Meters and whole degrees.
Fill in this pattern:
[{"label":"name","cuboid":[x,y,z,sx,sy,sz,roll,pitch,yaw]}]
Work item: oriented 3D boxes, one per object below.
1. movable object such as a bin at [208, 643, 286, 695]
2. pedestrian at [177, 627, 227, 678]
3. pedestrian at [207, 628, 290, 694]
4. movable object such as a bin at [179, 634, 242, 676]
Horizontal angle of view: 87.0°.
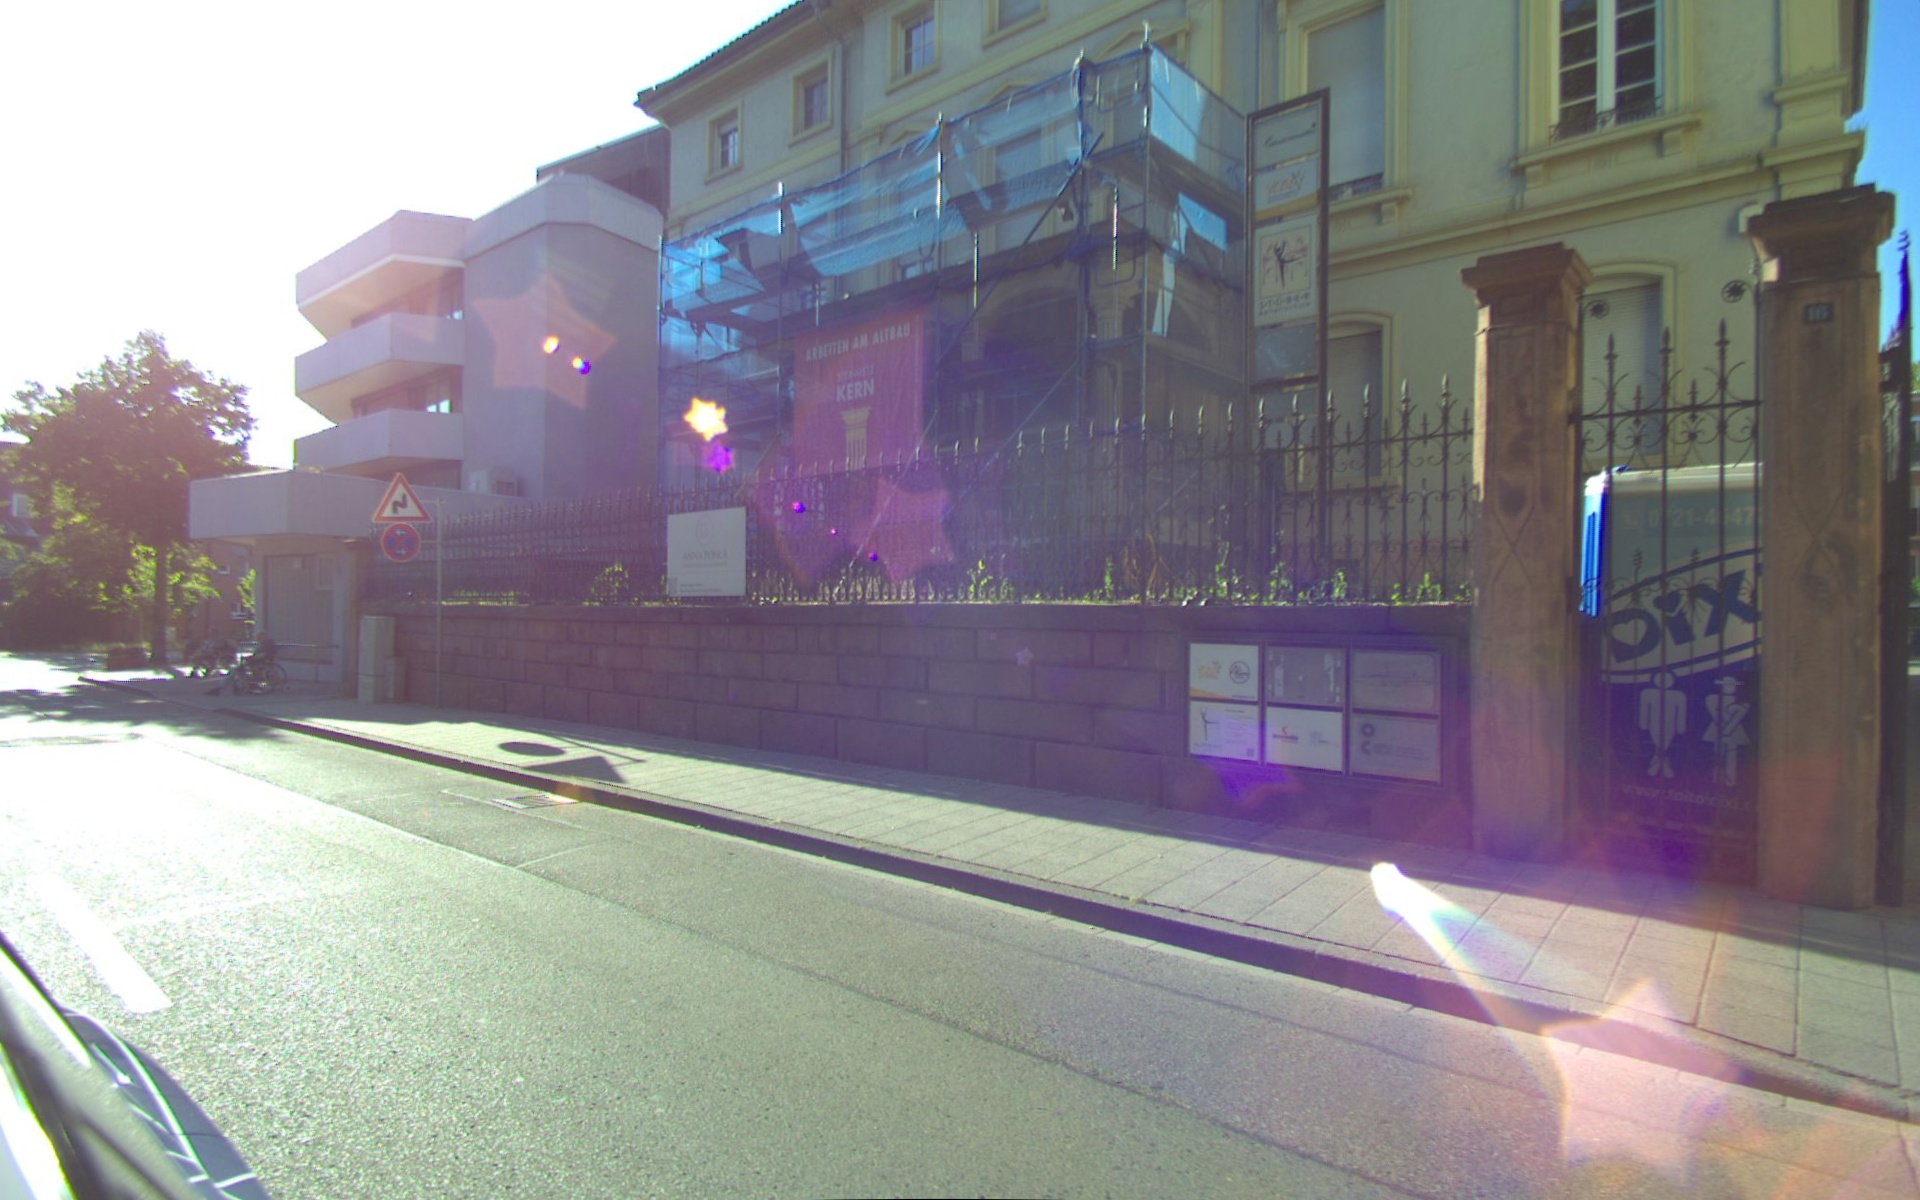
[{"label":"movable object such as a bin","cuboid":[-14.182,1.359,20.164,1.020,0.935,0.843,-1,0,-14]},{"label":"pedestrian","cuboid":[-18.642,1.270,24.892,0.839,1.194,0.734,-1,1,34]},{"label":"pedestrian","cuboid":[-14.177,1.206,20.197,1.139,1.239,0.843,-1,-3,-14]},{"label":"movable object such as a bin","cuboid":[-18.539,1.346,25.027,0.838,0.935,1.026,-1,1,34]}]
